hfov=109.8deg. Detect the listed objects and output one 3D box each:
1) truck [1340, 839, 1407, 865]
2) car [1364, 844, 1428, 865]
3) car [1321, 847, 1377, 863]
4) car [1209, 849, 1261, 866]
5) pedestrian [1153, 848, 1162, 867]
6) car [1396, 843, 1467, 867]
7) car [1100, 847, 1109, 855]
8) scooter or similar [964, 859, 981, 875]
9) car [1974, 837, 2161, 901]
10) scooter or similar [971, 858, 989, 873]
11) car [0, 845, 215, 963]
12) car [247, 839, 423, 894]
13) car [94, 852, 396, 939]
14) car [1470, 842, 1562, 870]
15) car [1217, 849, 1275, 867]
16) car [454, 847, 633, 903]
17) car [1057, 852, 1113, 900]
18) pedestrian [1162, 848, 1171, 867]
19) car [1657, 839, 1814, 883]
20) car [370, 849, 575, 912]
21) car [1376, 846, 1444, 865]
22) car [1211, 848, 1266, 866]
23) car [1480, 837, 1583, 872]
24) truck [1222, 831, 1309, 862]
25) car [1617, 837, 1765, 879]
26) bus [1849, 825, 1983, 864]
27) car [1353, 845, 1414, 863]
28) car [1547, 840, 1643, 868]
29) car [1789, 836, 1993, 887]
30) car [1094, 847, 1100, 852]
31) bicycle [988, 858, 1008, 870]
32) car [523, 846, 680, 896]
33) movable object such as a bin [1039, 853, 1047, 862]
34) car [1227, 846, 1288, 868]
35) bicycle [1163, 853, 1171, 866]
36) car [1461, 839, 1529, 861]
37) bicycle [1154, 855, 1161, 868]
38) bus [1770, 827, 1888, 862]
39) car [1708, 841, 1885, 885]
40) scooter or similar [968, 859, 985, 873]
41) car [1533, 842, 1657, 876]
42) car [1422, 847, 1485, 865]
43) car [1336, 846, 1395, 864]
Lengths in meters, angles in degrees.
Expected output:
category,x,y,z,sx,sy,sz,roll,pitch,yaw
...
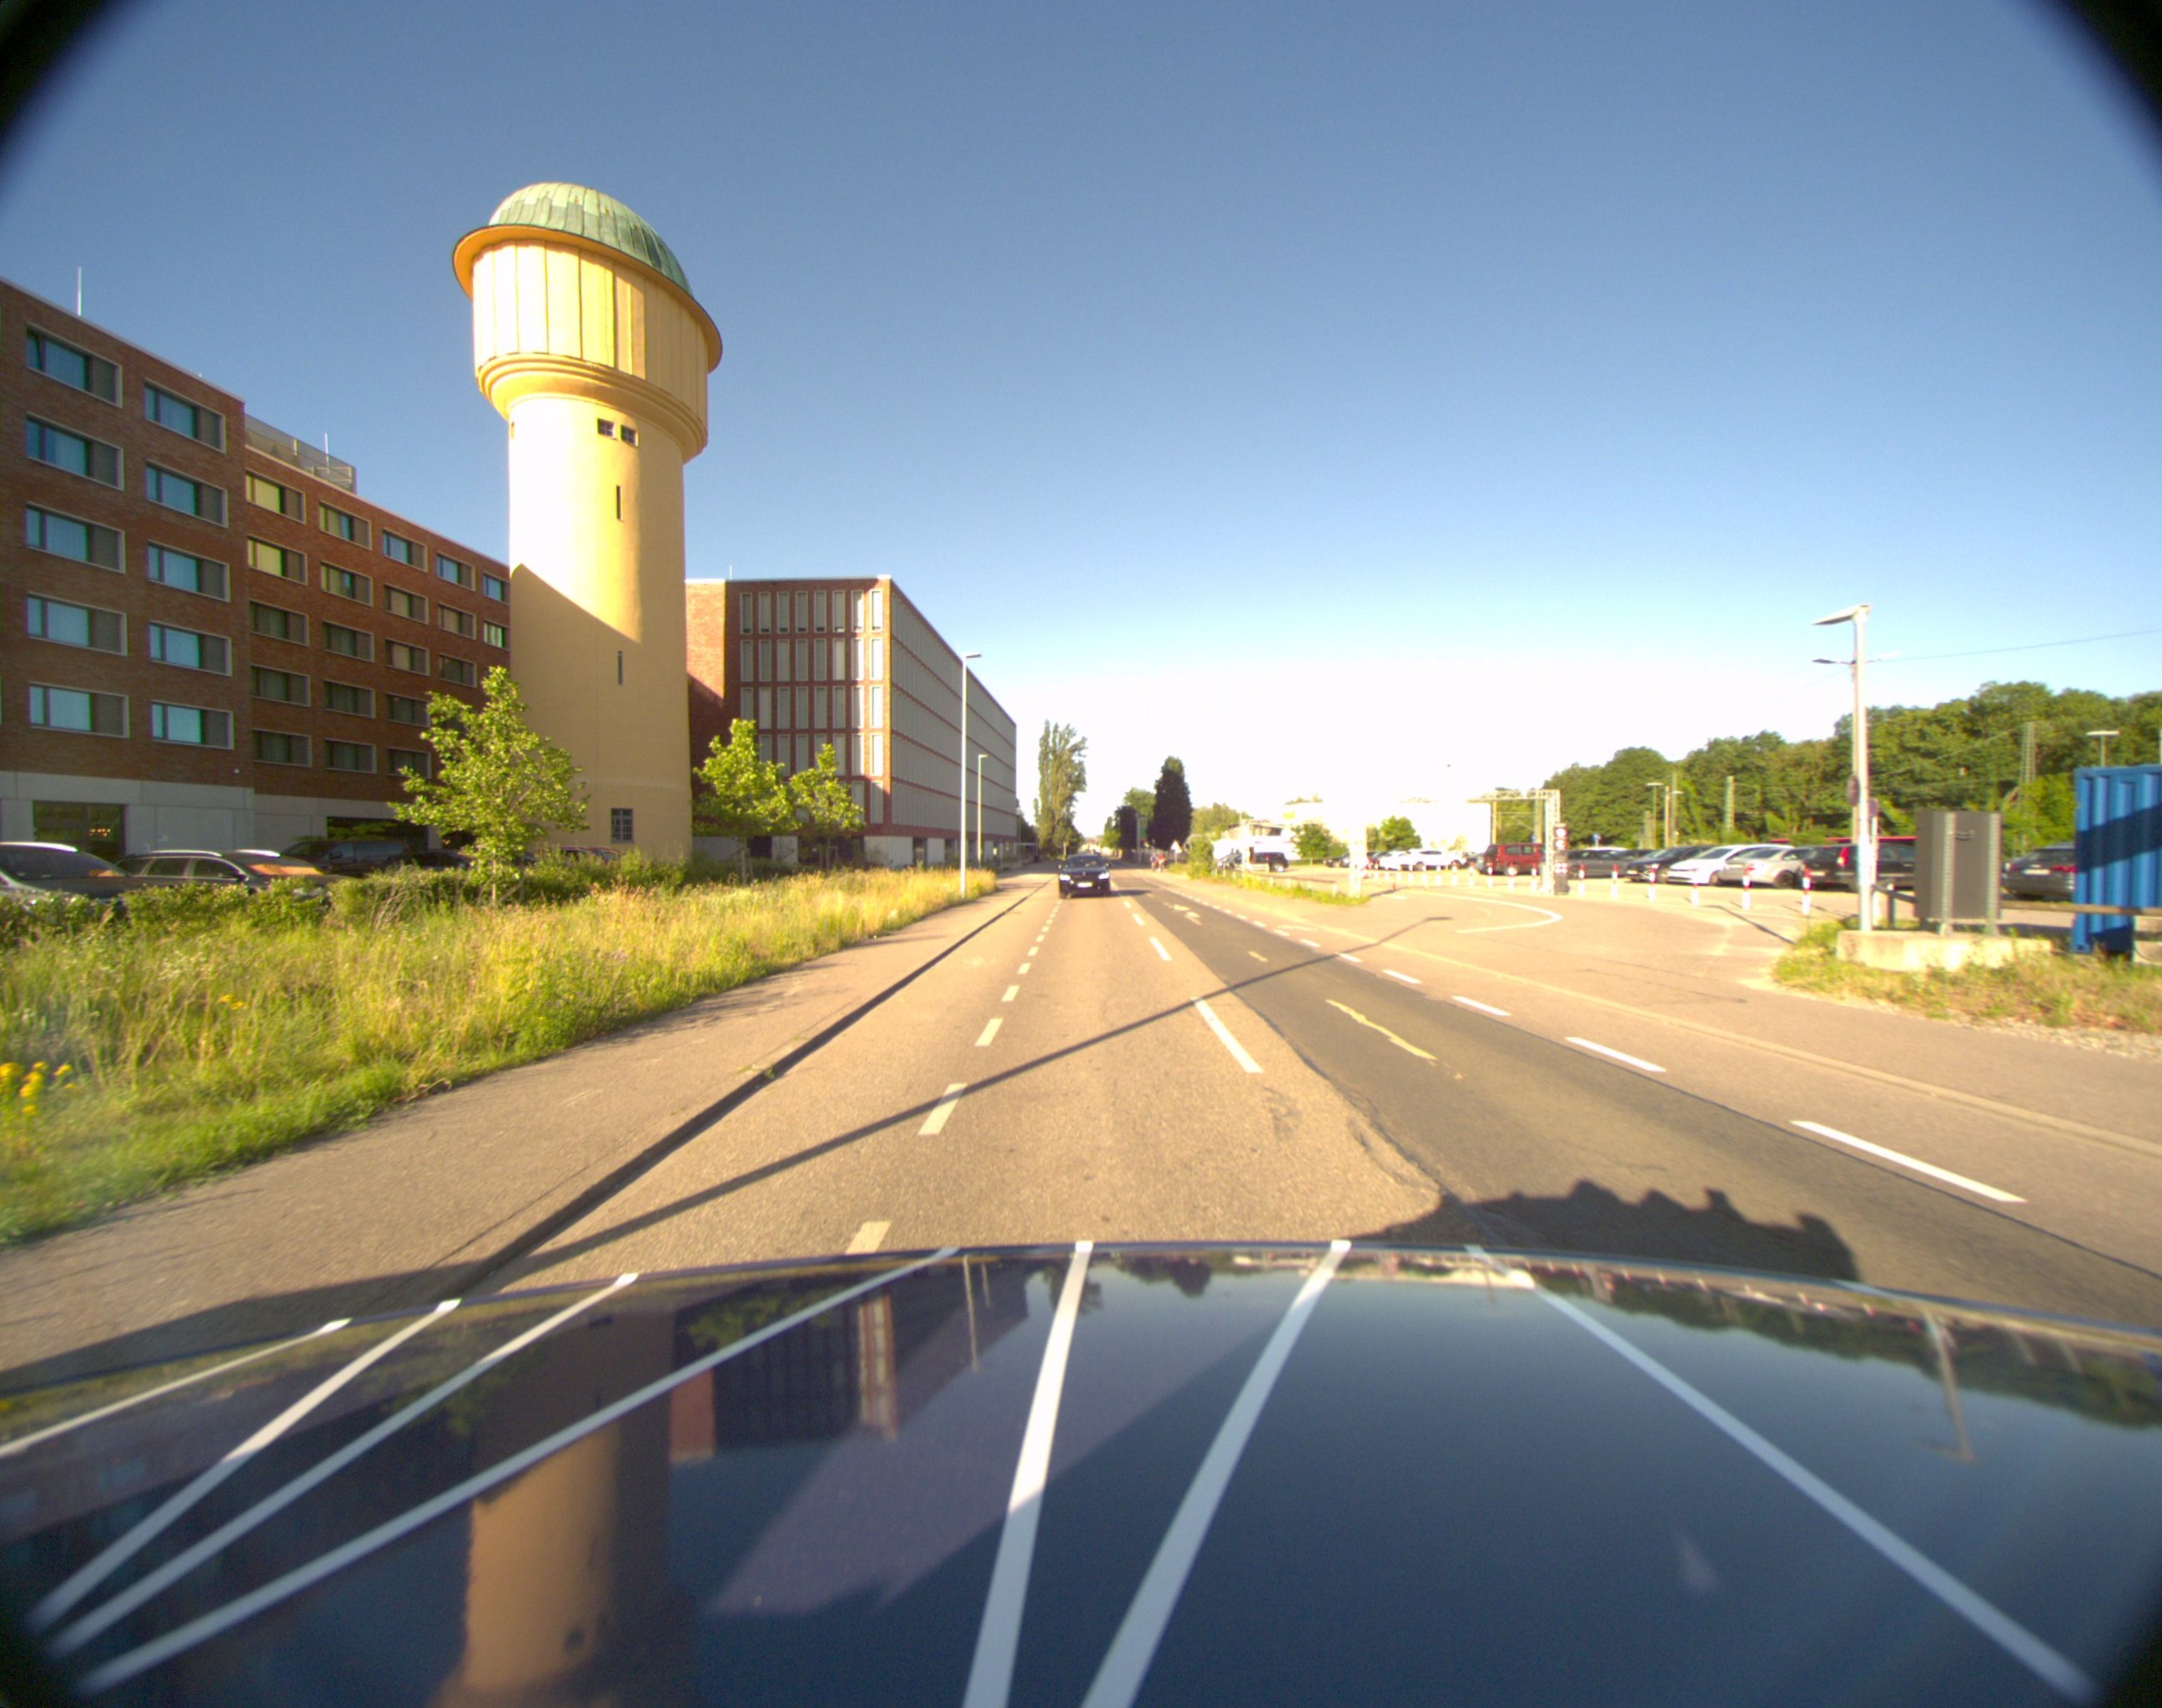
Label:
category,x,y,z,sx,sy,sz,roll,pitch,yaw
truck,32.134,-0.265,83.518,6.512,2.791,2.315,0,1,-1
car,24.529,0.058,59.286,4.172,1.569,2.048,-1,1,-3
car,24.760,0.084,70.283,4.414,1.457,2.048,-1,1,-3
car,14.119,0.326,69.963,4.439,1.453,2.048,-1,1,2
pedestrian,7.085,0.293,70.457,0.722,1.711,1.057,0,1,1
car,25.027,0.061,54.343,4.171,1.652,1.966,-1,1,-2
car,4.862,-0.670,157.165,1.658,1.495,3.999,0,1,1
scooter or similar,-8.404,0.988,58.658,1.245,1.188,0.340,0,1,5
car,25.165,0.332,18.632,4.333,1.411,1.878,-1,0,0
scooter or similar,-8.220,0.915,61.826,1.343,1.238,0.424,0,1,5
car,-16.807,0.764,12.130,3.996,1.696,1.852,-1,0,4
car,-28.674,0.436,29.485,1.976,1.924,4.793,-1,0,2
car,-16.648,0.796,15.270,4.193,1.571,1.852,-1,0,4
car,25.633,0.099,44.891,4.377,1.536,1.857,-1,0,1
car,13.900,0.307,64.134,4.439,1.453,2.048,-1,1,2
car,-16.356,0.629,23.240,4.193,1.571,1.852,-1,0,4
car,0.145,0.828,30.168,1.998,1.608,3.999,-4,1,0
pedestrian,7.842,0.302,69.600,0.722,1.711,1.057,0,1,1
car,24.999,0.258,29.134,4.332,1.514,1.878,-1,0,1
car,-16.540,0.688,20.779,4.193,1.571,1.852,-1,0,4
car,24.594,0.112,56.842,4.172,1.389,2.048,-1,1,-3
car,13.776,0.252,66.724,4.439,1.453,2.048,-1,1,2
car,24.987,0.042,42.218,4.587,1.795,1.857,-1,0,1
truck,22.950,-0.925,94.935,10.124,3.594,2.775,-1,2,0
car,25.081,0.153,31.355,4.587,1.576,1.857,-1,0,1
bus,53.264,-0.584,48.684,2.545,2.334,5.589,0,0,2
car,24.741,-0.009,62.325,4.172,1.389,2.048,-1,1,-3
car,30.437,-0.021,45.057,4.377,1.536,1.857,-1,0,1
car,25.290,0.229,23.851,4.332,1.454,1.878,-1,0,1
car,5.014,-1.503,238.341,1.745,1.517,4.111,3,0,0
bicycle,-8.041,0.959,73.480,1.937,1.163,0.375,1,1,-5
car,-16.268,0.567,25.888,4.193,1.571,1.852,-1,0,4
movable object such as a bin,-5.745,0.516,114.279,1.131,1.328,1.345,0,1,0
car,14.138,0.240,61.156,4.439,1.660,2.048,-1,1,2
bicycle,7.851,0.495,69.615,0.471,1.142,1.869,-2,1,1
car,30.593,-0.310,56.234,3.998,1.540,1.913,-1,0,-2
bicycle,7.035,0.708,70.111,0.447,1.142,2.201,-2,1,1
bus,53.466,-0.640,54.551,2.545,2.334,6.205,0,0,2
car,24.790,0.296,26.441,4.332,1.385,1.878,-1,0,1
scooter or similar,-8.278,0.951,60.270,1.245,1.149,0.366,0,1,5
car,24.939,0.243,36.994,4.586,1.472,1.991,-1,0,4
car,30.544,0.145,62.313,4.172,1.389,2.048,-1,1,-3
car,25.240,0.086,67.547,4.414,1.457,2.048,-1,1,-3
